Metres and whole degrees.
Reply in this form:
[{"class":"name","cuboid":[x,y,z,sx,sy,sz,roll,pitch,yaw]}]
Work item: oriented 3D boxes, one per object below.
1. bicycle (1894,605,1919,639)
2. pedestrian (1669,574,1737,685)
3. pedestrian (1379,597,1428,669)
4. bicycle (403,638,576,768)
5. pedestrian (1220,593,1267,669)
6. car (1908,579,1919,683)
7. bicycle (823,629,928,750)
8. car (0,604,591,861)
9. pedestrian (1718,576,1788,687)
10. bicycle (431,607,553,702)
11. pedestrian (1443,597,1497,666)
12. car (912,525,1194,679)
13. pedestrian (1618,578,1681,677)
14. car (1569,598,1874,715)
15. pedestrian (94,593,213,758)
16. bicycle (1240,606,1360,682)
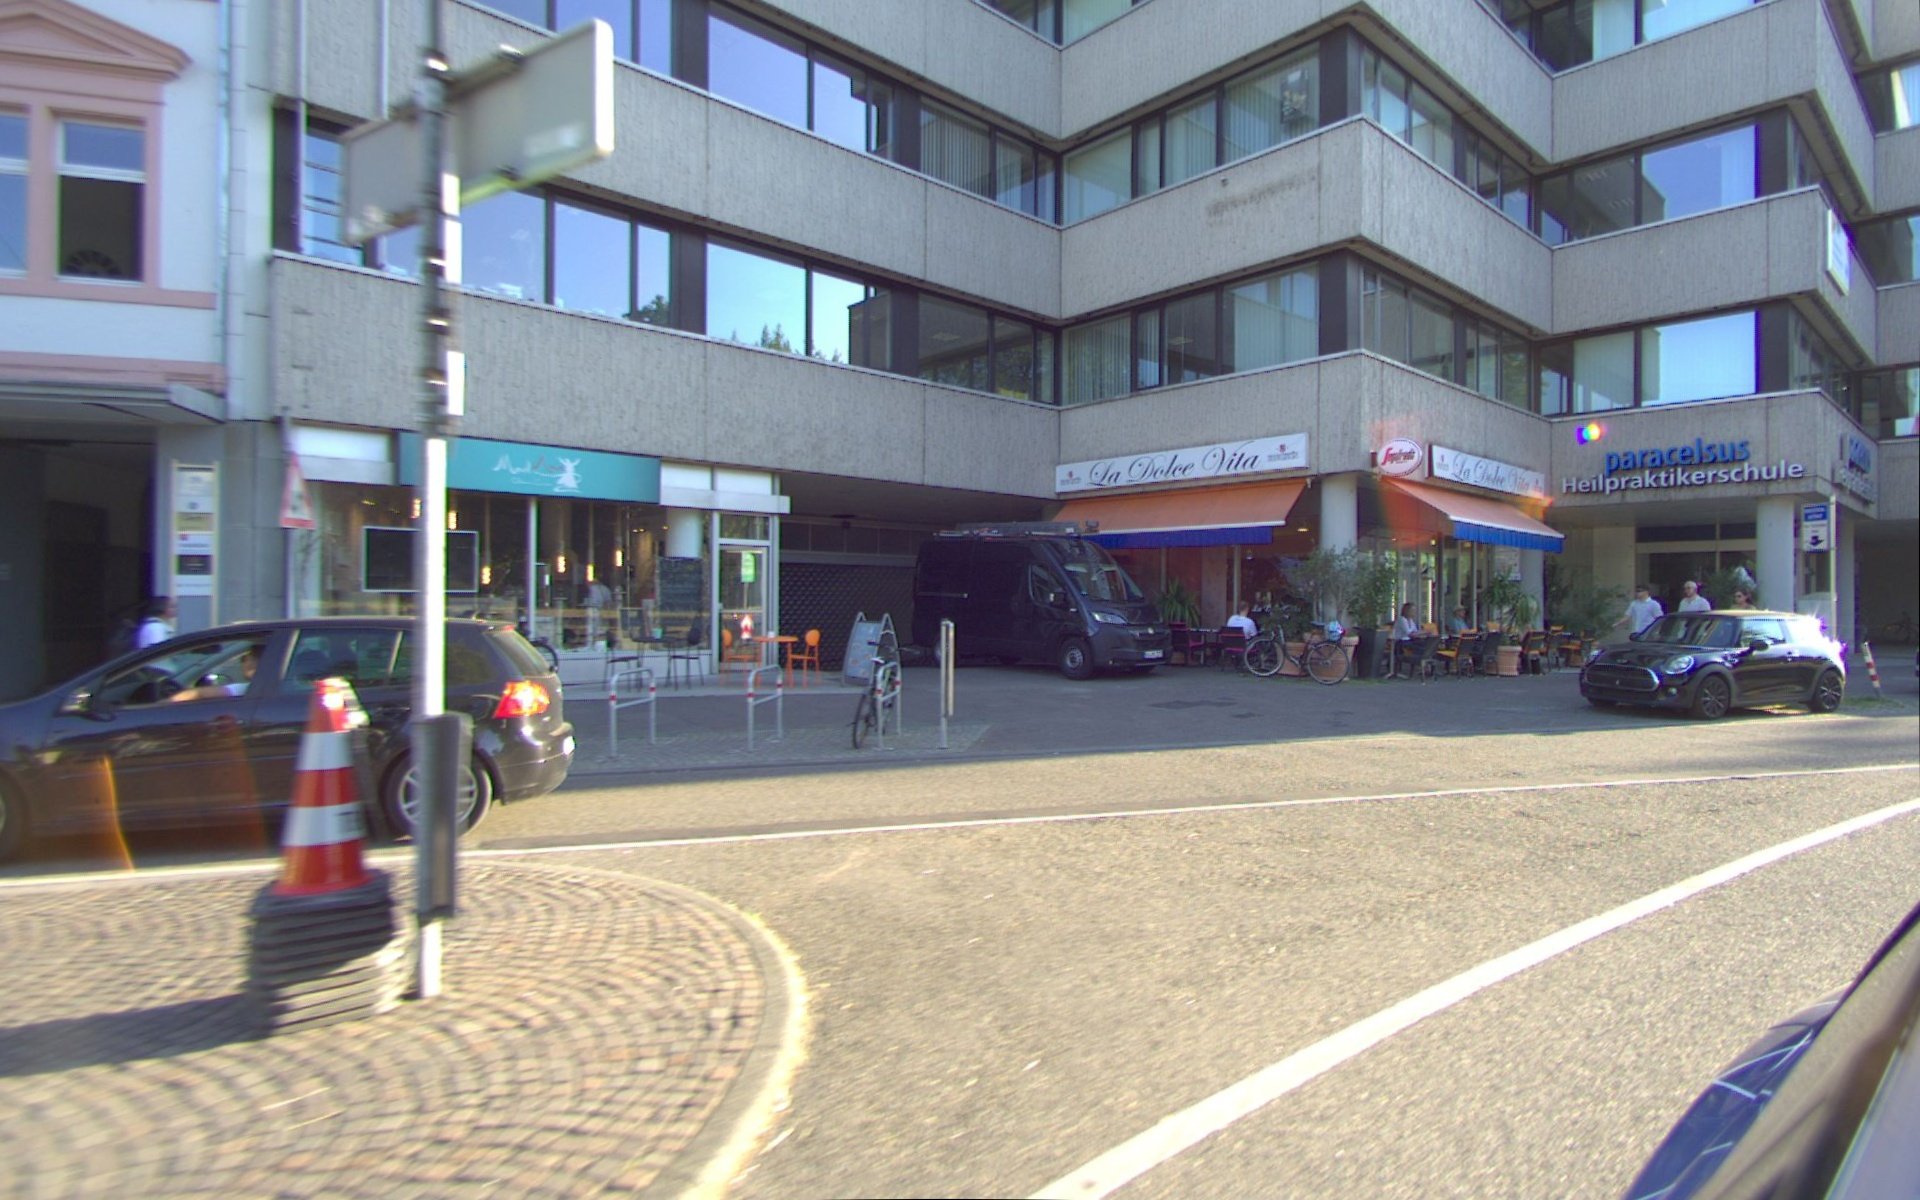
[{"class":"bicycle","cuboid":[31.749,0.738,32.959,0.474,1.087,1.873,1,1,-29]},{"class":"pedestrian","cuboid":[12.946,0.502,17.638,0.648,1.880,0.626,0,2,-15]},{"class":"pedestrian","cuboid":[8.298,0.598,18.953,0.651,1.297,0.652,2,2,44]},{"class":"bicycle","cuboid":[-4.750,0.997,10.362,0.572,1.058,1.845,2,2,14]},{"class":"pedestrian","cuboid":[5.063,0.534,18.045,0.642,1.297,0.553,-1,2,-44]},{"class":"car","cuboid":[18.467,0.560,16.913,4.410,1.734,1.878,0,2,-18]},{"class":"bicycle","cuboid":[-0.911,0.941,11.268,0.604,1.133,1.599,2,2,17]},{"class":"car","cuboid":[-4.752,0.775,6.990,4.017,1.479,1.757,0,-1,-16]},{"class":"pedestrian","cuboid":[13.096,0.502,16.716,0.648,1.781,0.582,0,2,-15]},{"class":"bicycle","cuboid":[-6.411,0.714,13.926,0.511,1.132,1.508,2,4,30]},{"class":"pedestrian","cuboid":[10.101,0.602,20.037,0.651,1.297,0.766,-1,2,-44]},{"class":"car","cuboid":[1.555,-0.051,18.945,2.056,2.472,5.325,-1,2,-41]},{"class":"pedestrian","cuboid":[12.584,0.483,18.472,0.648,1.761,0.626,0,2,-15]},{"class":"car","cuboid":[10.940,0.731,14.586,3.742,1.459,1.671,0,2,-19]},{"class":"pedestrian","cuboid":[-8.005,0.726,10.074,0.723,1.575,0.633,0,-1,-14]},{"class":"bicycle","cuboid":[5.648,0.708,16.875,1.804,1.133,0.528,3,2,35]}]
